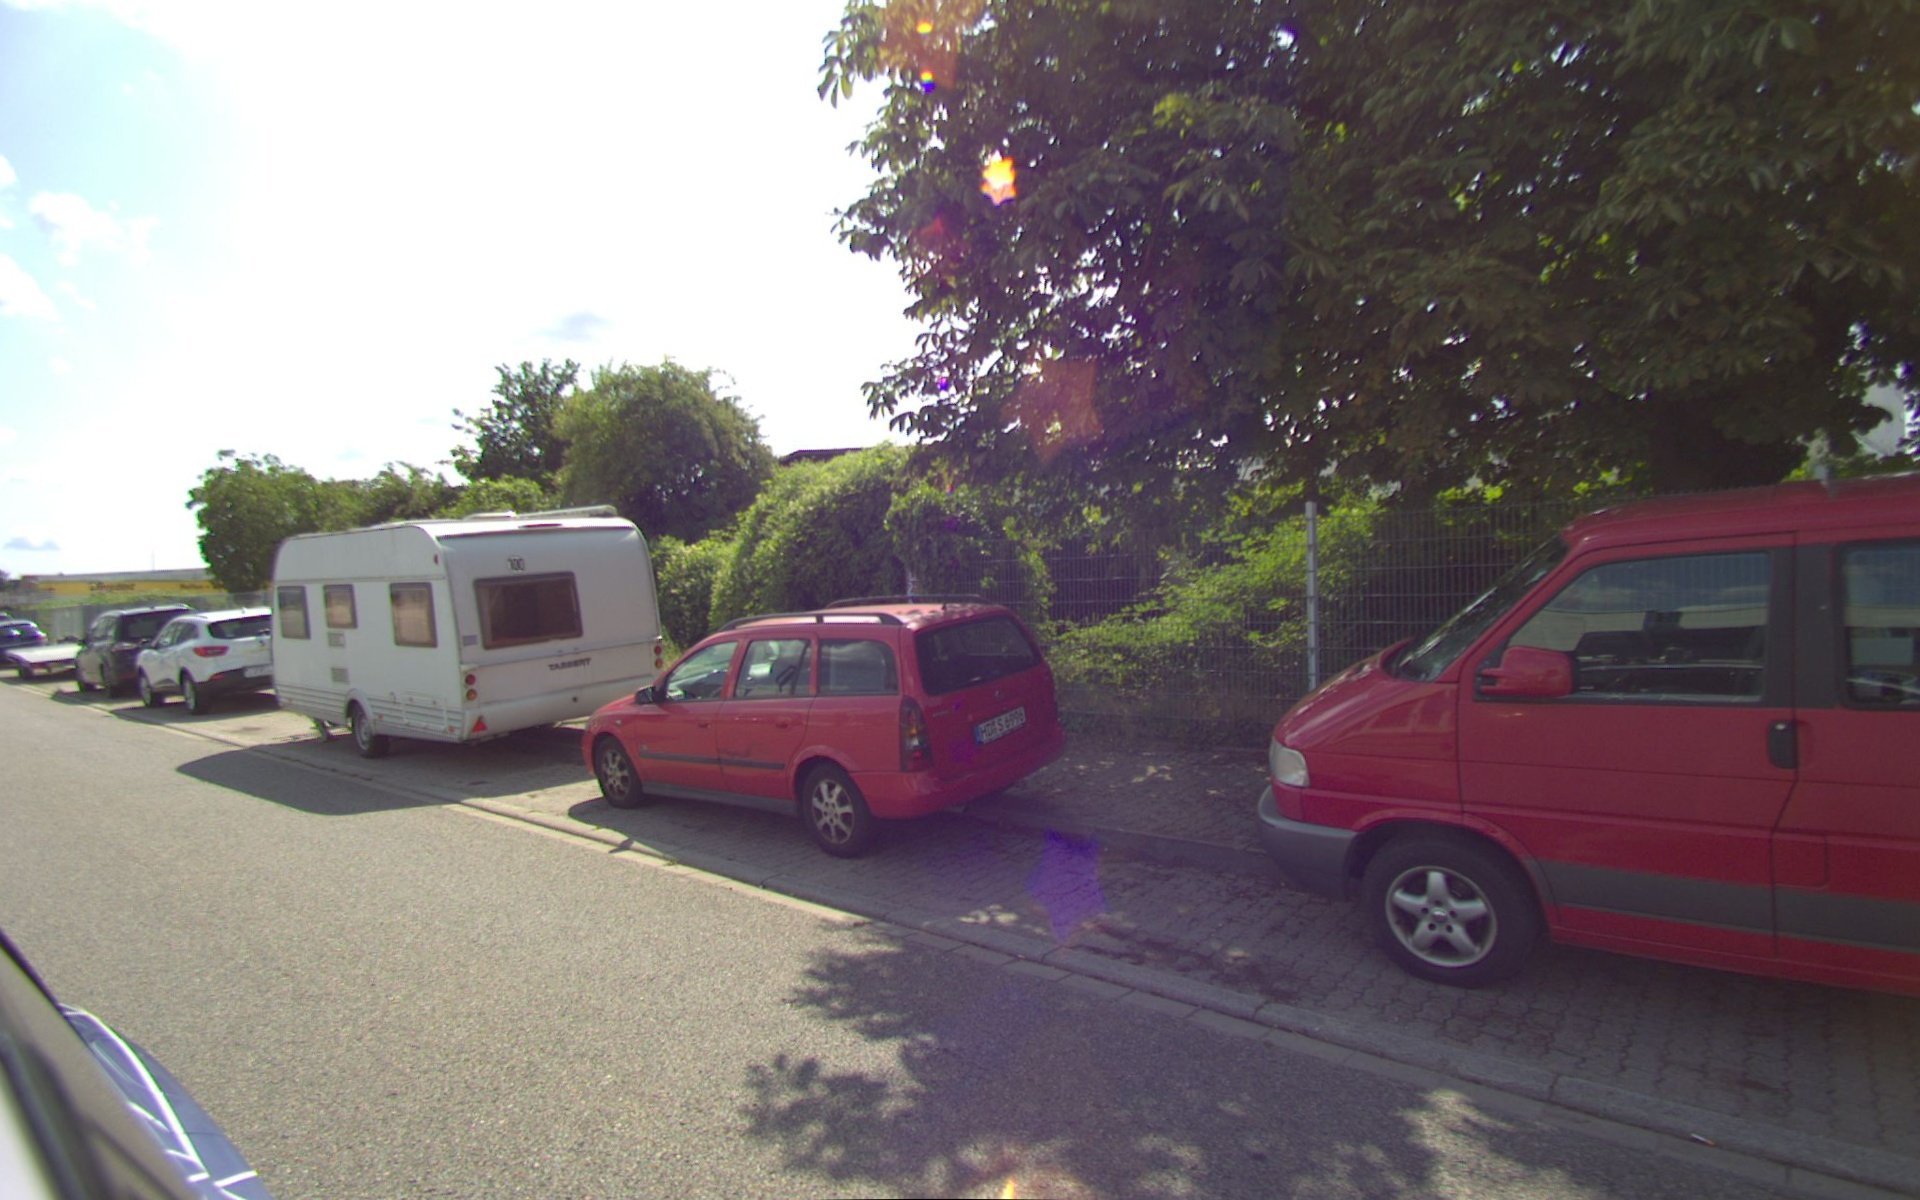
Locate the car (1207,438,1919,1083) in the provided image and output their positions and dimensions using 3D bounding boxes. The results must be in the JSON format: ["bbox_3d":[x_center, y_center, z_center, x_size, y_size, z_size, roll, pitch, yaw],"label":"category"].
[{"bbox_3d":[3.638,0.396,3.615,4.955,1.968,1.880,-1,5,41],"label":"car"}]

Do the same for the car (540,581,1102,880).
[{"bbox_3d":[-1.229,0.748,7.522,4.264,1.543,1.609,-1,3,40],"label":"car"}]

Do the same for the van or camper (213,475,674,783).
[{"bbox_3d":[-6.539,0.253,12.272,6.826,2.824,2.241,-1,3,39],"label":"van or camper"}]

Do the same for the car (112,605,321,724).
[{"bbox_3d":[-13.057,1.055,17.681,4.438,1.704,1.668,-2,4,38],"label":"car"}]

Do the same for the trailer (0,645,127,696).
[{"bbox_3d":[-25.136,1.862,27.925,7.130,0.889,2.248,-1,4,42],"label":"trailer"}]

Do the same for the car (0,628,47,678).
[{"bbox_3d":[-31.465,1.722,33.197,4.196,1.524,1.562,-1,1,39],"label":"car"}]

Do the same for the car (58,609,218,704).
[{"bbox_3d":[-17.721,1.148,21.730,4.732,1.807,1.808,-2,0,40],"label":"car"}]

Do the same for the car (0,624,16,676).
[{"bbox_3d":[-35.168,1.775,35.994,4.709,1.763,1.783,-2,-1,40],"label":"car"}]
